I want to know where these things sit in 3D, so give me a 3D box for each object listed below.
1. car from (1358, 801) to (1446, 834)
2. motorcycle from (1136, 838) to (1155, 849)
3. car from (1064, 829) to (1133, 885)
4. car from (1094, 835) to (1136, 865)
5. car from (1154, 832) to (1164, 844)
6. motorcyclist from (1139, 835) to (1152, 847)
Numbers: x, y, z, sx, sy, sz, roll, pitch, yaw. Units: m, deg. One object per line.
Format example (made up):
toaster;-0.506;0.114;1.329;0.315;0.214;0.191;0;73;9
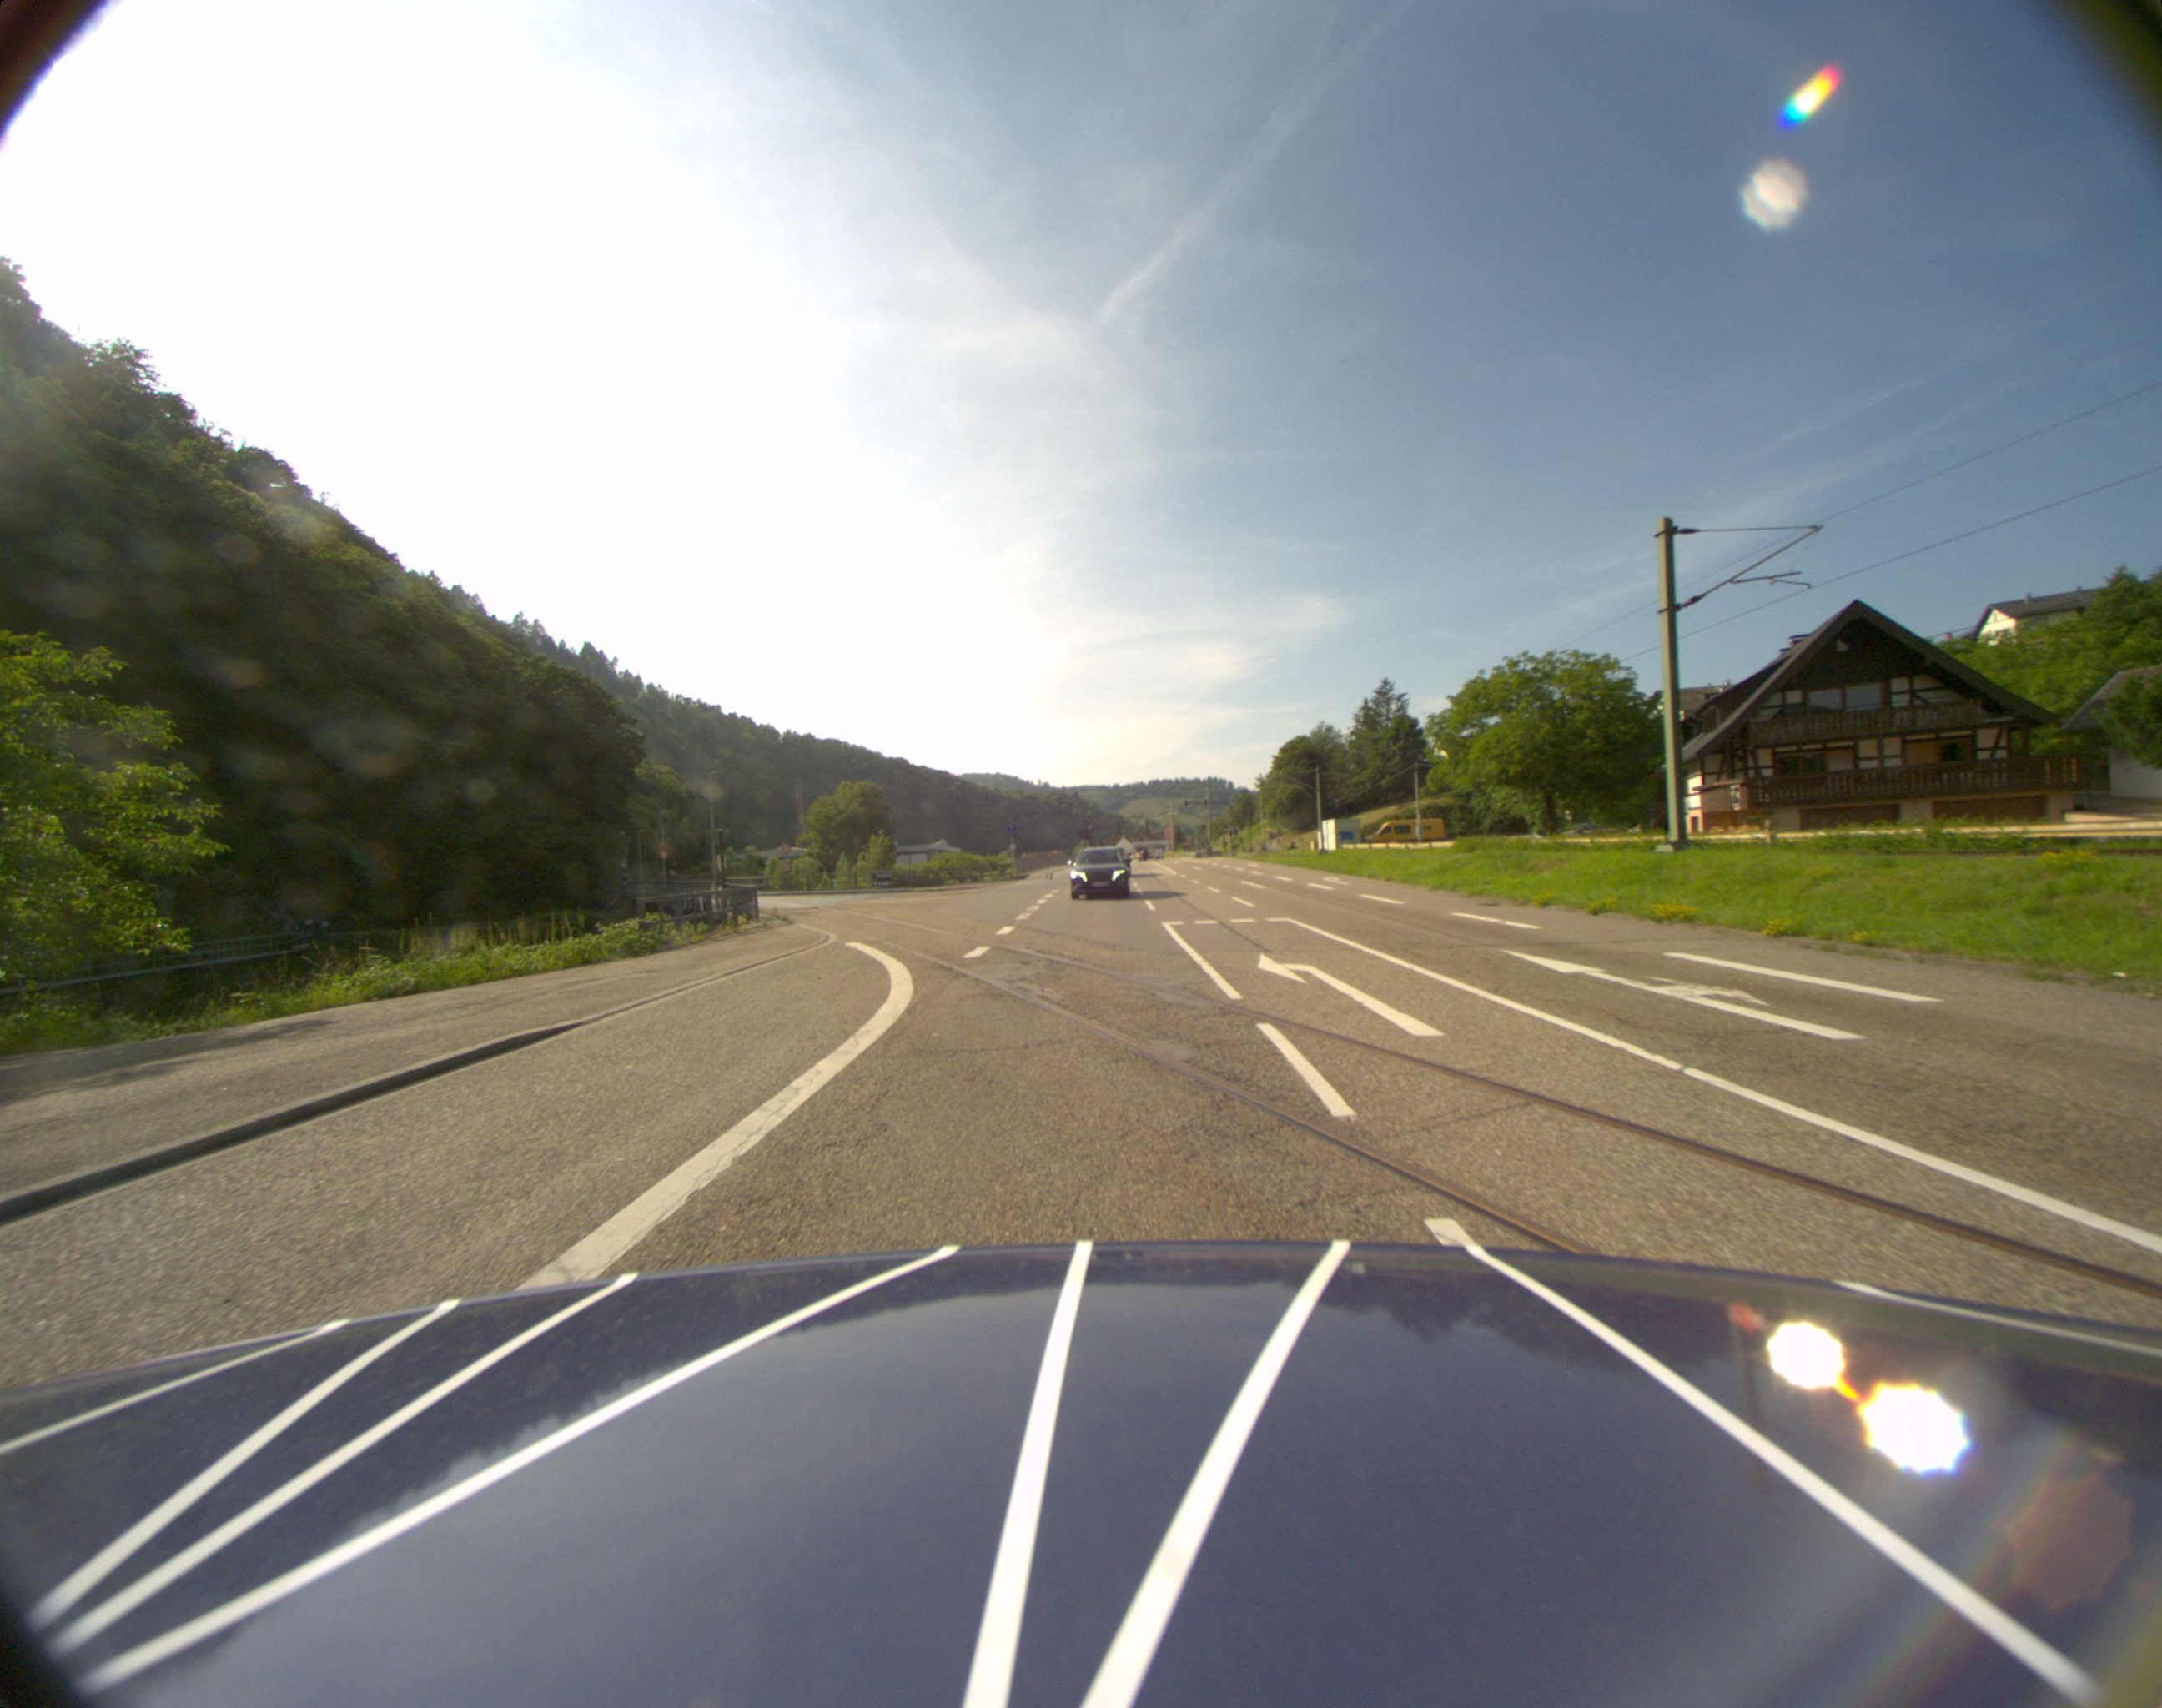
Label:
car;29.882;-3.383;70.968;7.075;2.442;2.951;-4;0;14
motorcycle;8.548;-1.366;100.106;1.003;1.261;2.598;-4;1;44
car;0.720;0.098;25.861;1.998;1.661;5.512;-2;0;5
car;1.931;-0.250;42.248;1.918;1.455;4.001;-4;1;7
car;18.421;-3.748;178.638;2.124;2.422;5.229;-4;0;5
motorcyclist;8.516;-1.695;100.042;0.989;1.535;1.188;-4;1;43
